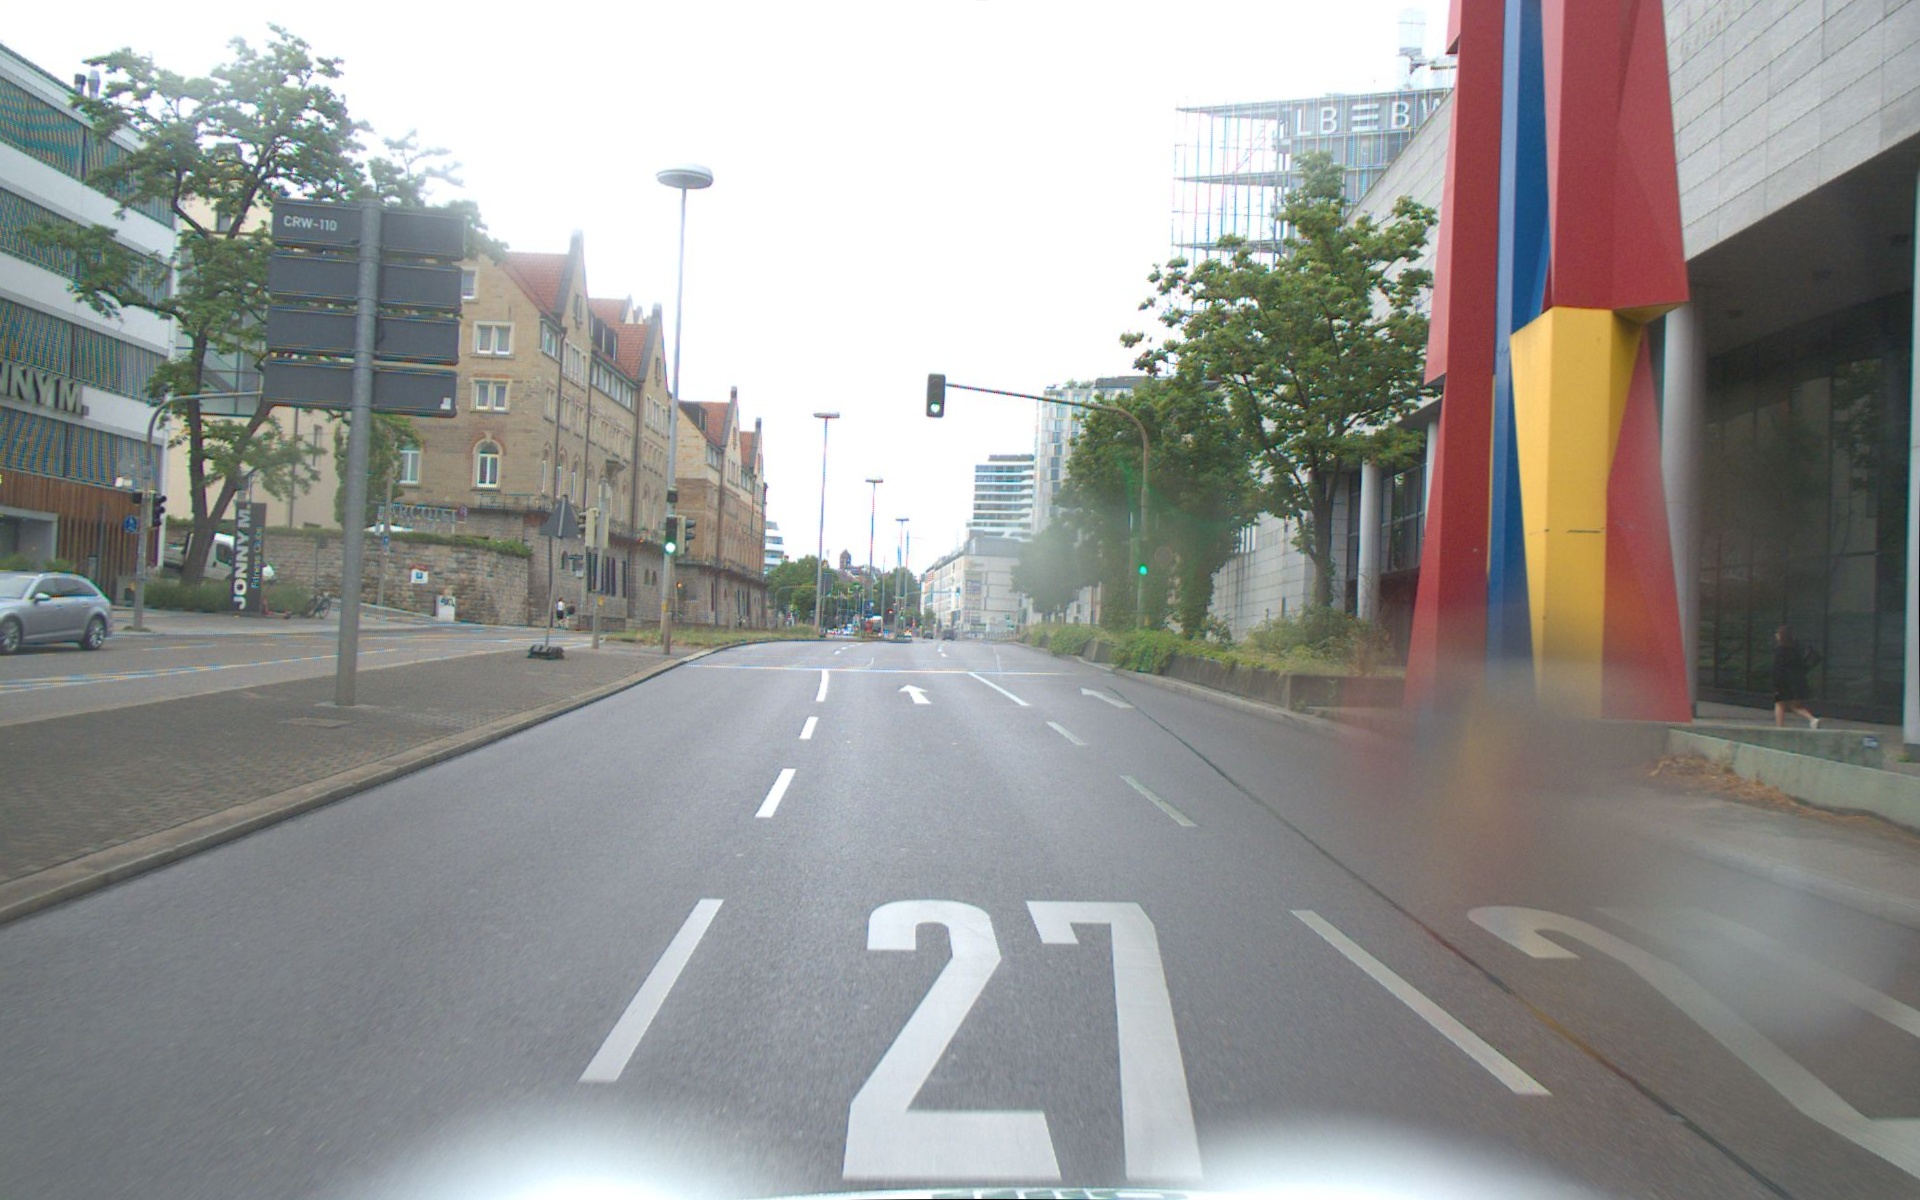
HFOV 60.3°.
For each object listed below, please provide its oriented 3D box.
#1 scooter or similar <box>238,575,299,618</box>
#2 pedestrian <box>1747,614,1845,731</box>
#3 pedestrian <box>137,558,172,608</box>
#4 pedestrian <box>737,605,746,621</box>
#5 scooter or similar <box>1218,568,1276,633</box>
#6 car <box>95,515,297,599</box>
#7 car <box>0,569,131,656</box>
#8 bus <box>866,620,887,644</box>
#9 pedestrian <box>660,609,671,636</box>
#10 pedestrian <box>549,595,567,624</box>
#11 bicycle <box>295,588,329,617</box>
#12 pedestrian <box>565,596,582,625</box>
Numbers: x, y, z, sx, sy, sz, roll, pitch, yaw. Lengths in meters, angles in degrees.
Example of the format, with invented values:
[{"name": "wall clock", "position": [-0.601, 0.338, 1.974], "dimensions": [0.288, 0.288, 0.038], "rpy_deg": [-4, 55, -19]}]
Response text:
[{"name": "scooter or similar", "position": [-22.842, -0.102, 54.630], "dimensions": [1.731, 1.268, 0.367], "rpy_deg": [6, -3, -29]}, {"name": "pedestrian", "position": [11.964, 1.023, 23.689], "dimensions": [0.950, 1.614, 0.842], "rpy_deg": [1, 0, -3]}, {"name": "pedestrian", "position": [-27.636, -0.578, 56.730], "dimensions": [0.752, 1.670, 0.841], "rpy_deg": [1, 0, 0]}, {"name": "pedestrian", "position": [-20.272, 1.221, 153.251], "dimensions": [0.738, 1.504, 0.714], "rpy_deg": [1, 0, 0]}, {"name": "scooter or similar", "position": [7.105, 0.010, 40.951], "dimensions": [1.295, 1.557, 0.502], "rpy_deg": [3, 0, 2]}, {"name": "car", "position": [-30.706, -1.746, 66.664], "dimensions": [6.766, 2.313, 2.515], "rpy_deg": [9, 3, 1]}, {"name": "car", "position": [-17.157, 0.189, 30.156], "dimensions": [1.954, 1.472, 4.876], "rpy_deg": [1, 0, -5]}, {"name": "bus", "position": [-12.893, 5.042, 256.450], "dimensions": [2.643, 3.622, 10.092], "rpy_deg": [1, -1, 0]}, {"name": "pedestrian", "position": [-20.258, 1.545, 113.736], "dimensions": [0.627, 1.776, 0.621], "rpy_deg": [1, 0, -1]}, {"name": "pedestrian", "position": [-21.205, 0.497, 87.225], "dimensions": [0.738, 1.504, 0.714], "rpy_deg": [1, 0, 0]}, {"name": "bicycle", "position": [-23.025, 0.099, 58.786], "dimensions": [0.447, 1.008, 1.758], "rpy_deg": [2, -1, 1]}, {"name": "pedestrian", "position": [-20.384, 0.532, 87.250], "dimensions": [0.738, 1.504, 0.714], "rpy_deg": [1, 0, 0]}]
